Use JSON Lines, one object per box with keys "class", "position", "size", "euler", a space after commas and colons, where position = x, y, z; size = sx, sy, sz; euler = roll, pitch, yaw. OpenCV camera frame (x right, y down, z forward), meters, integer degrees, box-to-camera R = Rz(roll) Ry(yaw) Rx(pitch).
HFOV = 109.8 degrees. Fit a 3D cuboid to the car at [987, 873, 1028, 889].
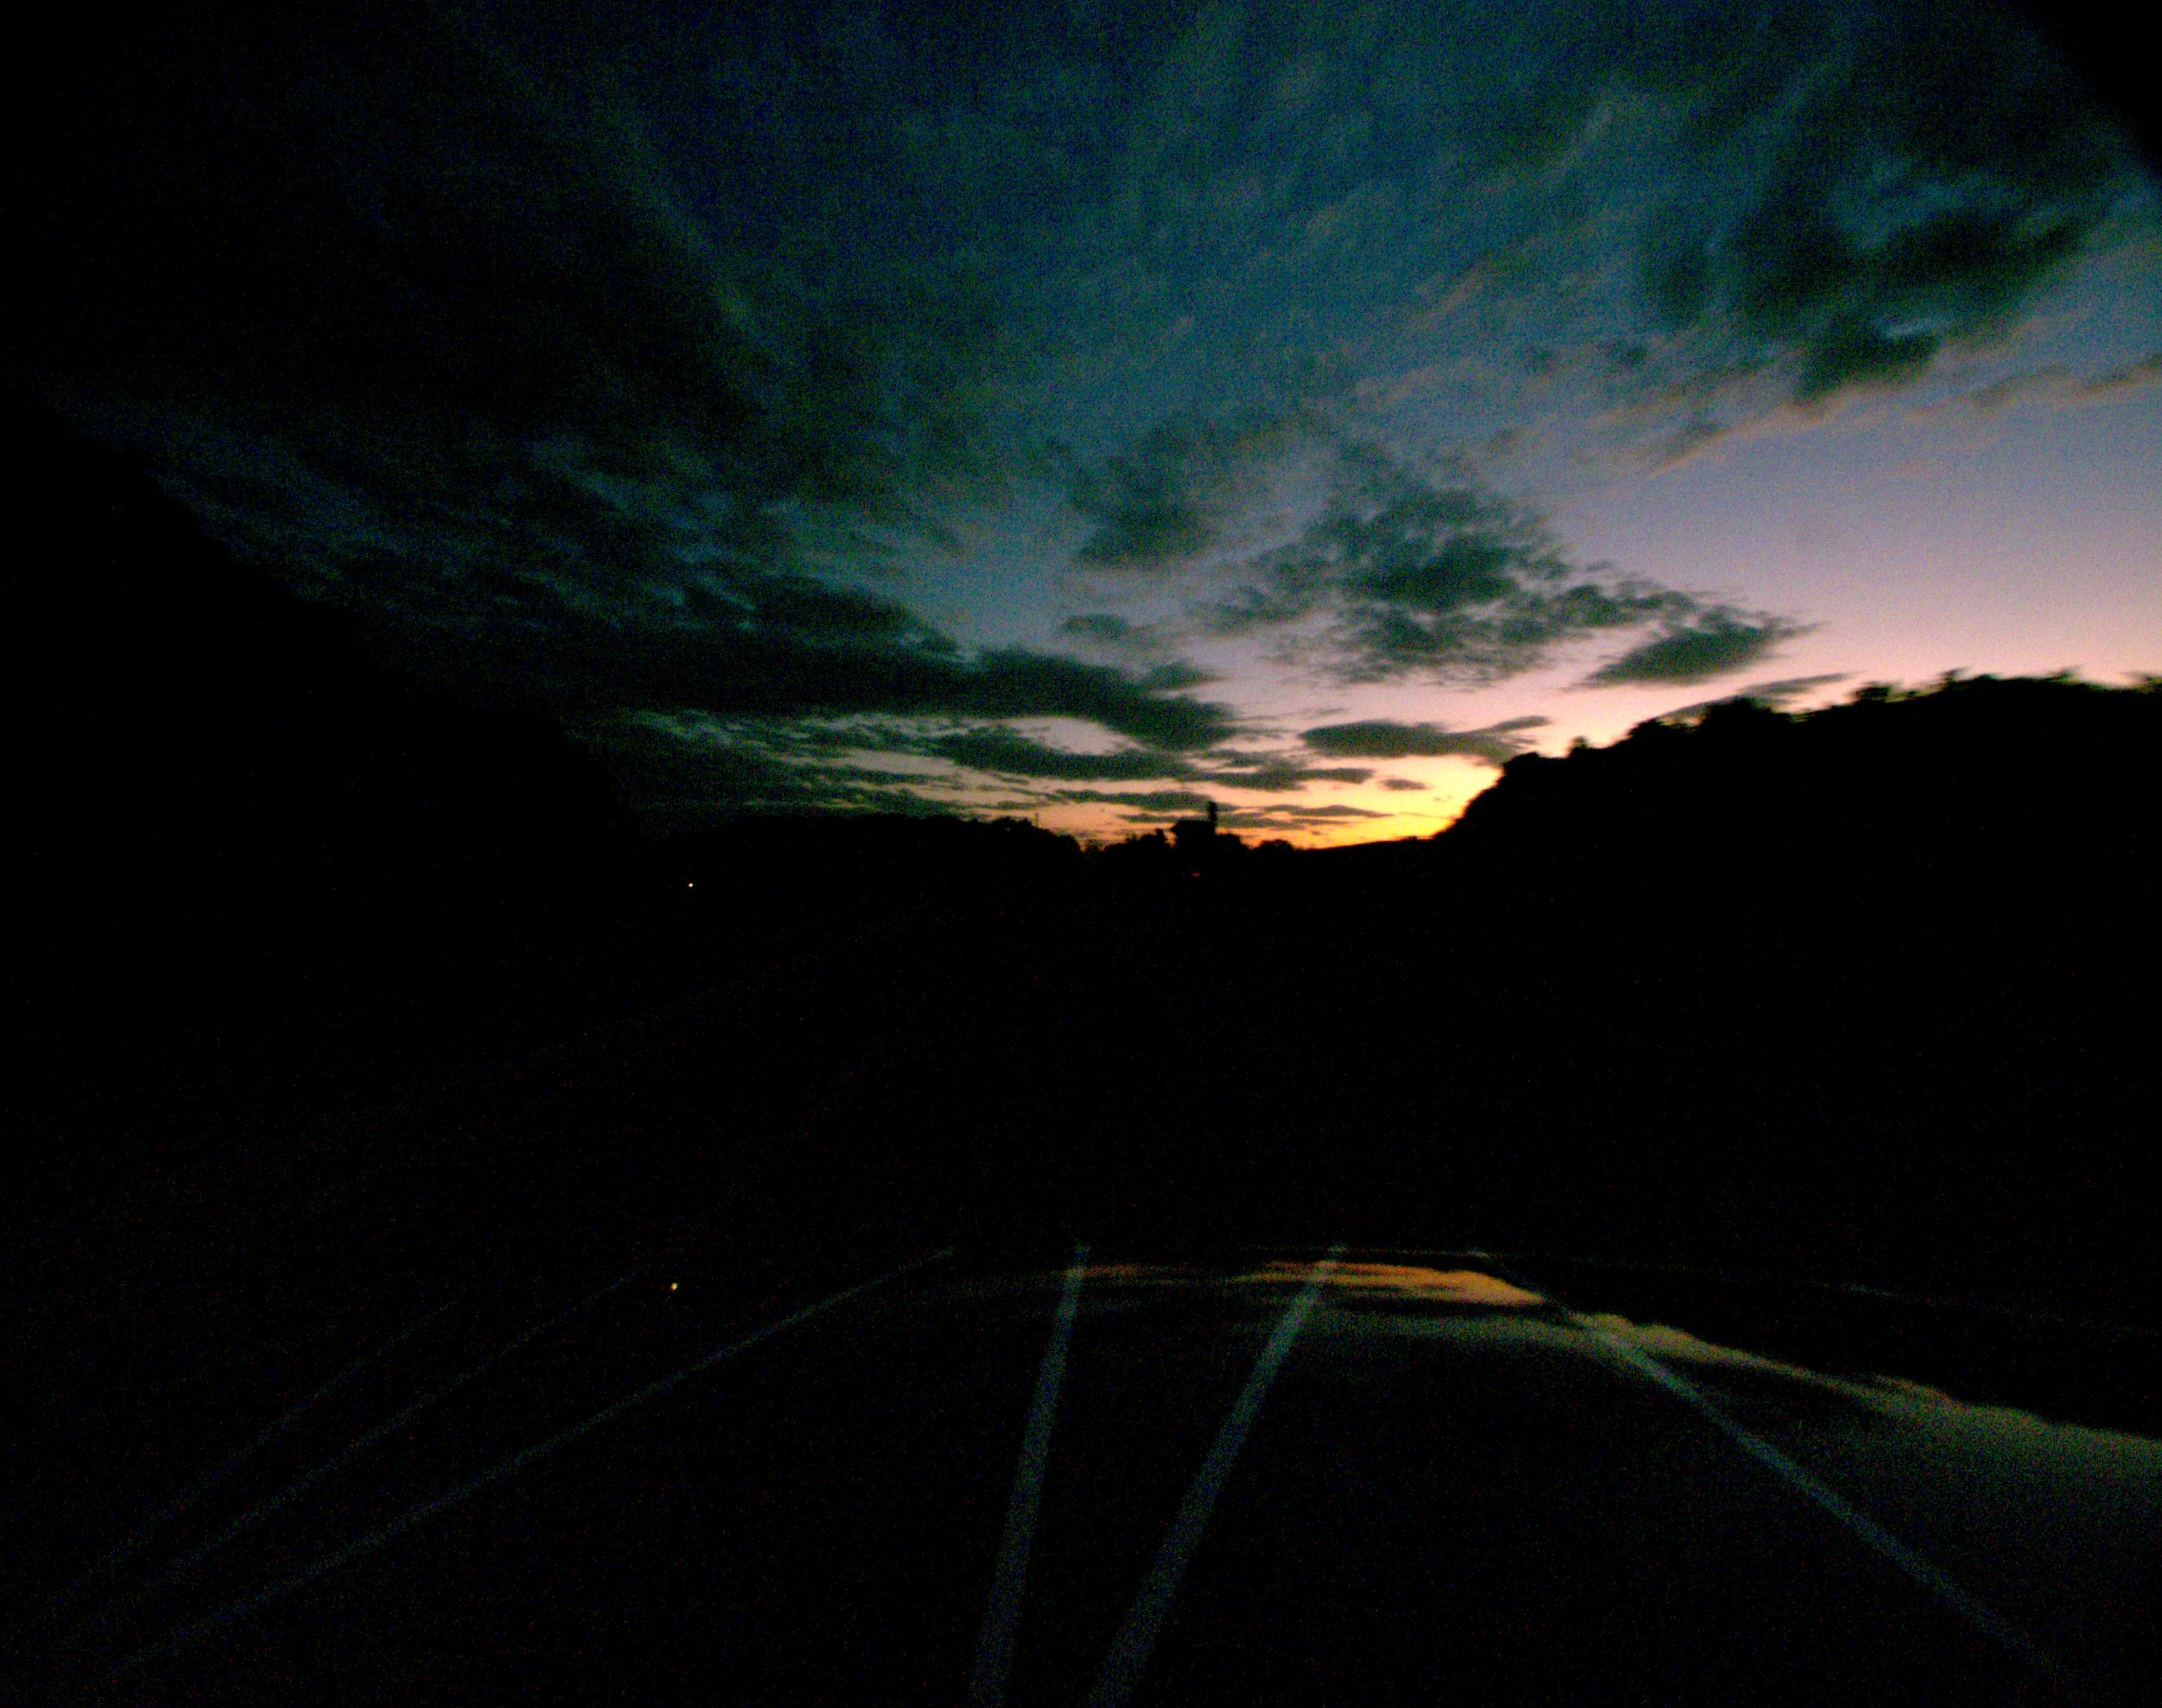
{"class": "car", "position": [-7.735, 2.862, 79.706], "size": [3.989, 1.475, 2.004], "euler": [-3, 1, 39]}
